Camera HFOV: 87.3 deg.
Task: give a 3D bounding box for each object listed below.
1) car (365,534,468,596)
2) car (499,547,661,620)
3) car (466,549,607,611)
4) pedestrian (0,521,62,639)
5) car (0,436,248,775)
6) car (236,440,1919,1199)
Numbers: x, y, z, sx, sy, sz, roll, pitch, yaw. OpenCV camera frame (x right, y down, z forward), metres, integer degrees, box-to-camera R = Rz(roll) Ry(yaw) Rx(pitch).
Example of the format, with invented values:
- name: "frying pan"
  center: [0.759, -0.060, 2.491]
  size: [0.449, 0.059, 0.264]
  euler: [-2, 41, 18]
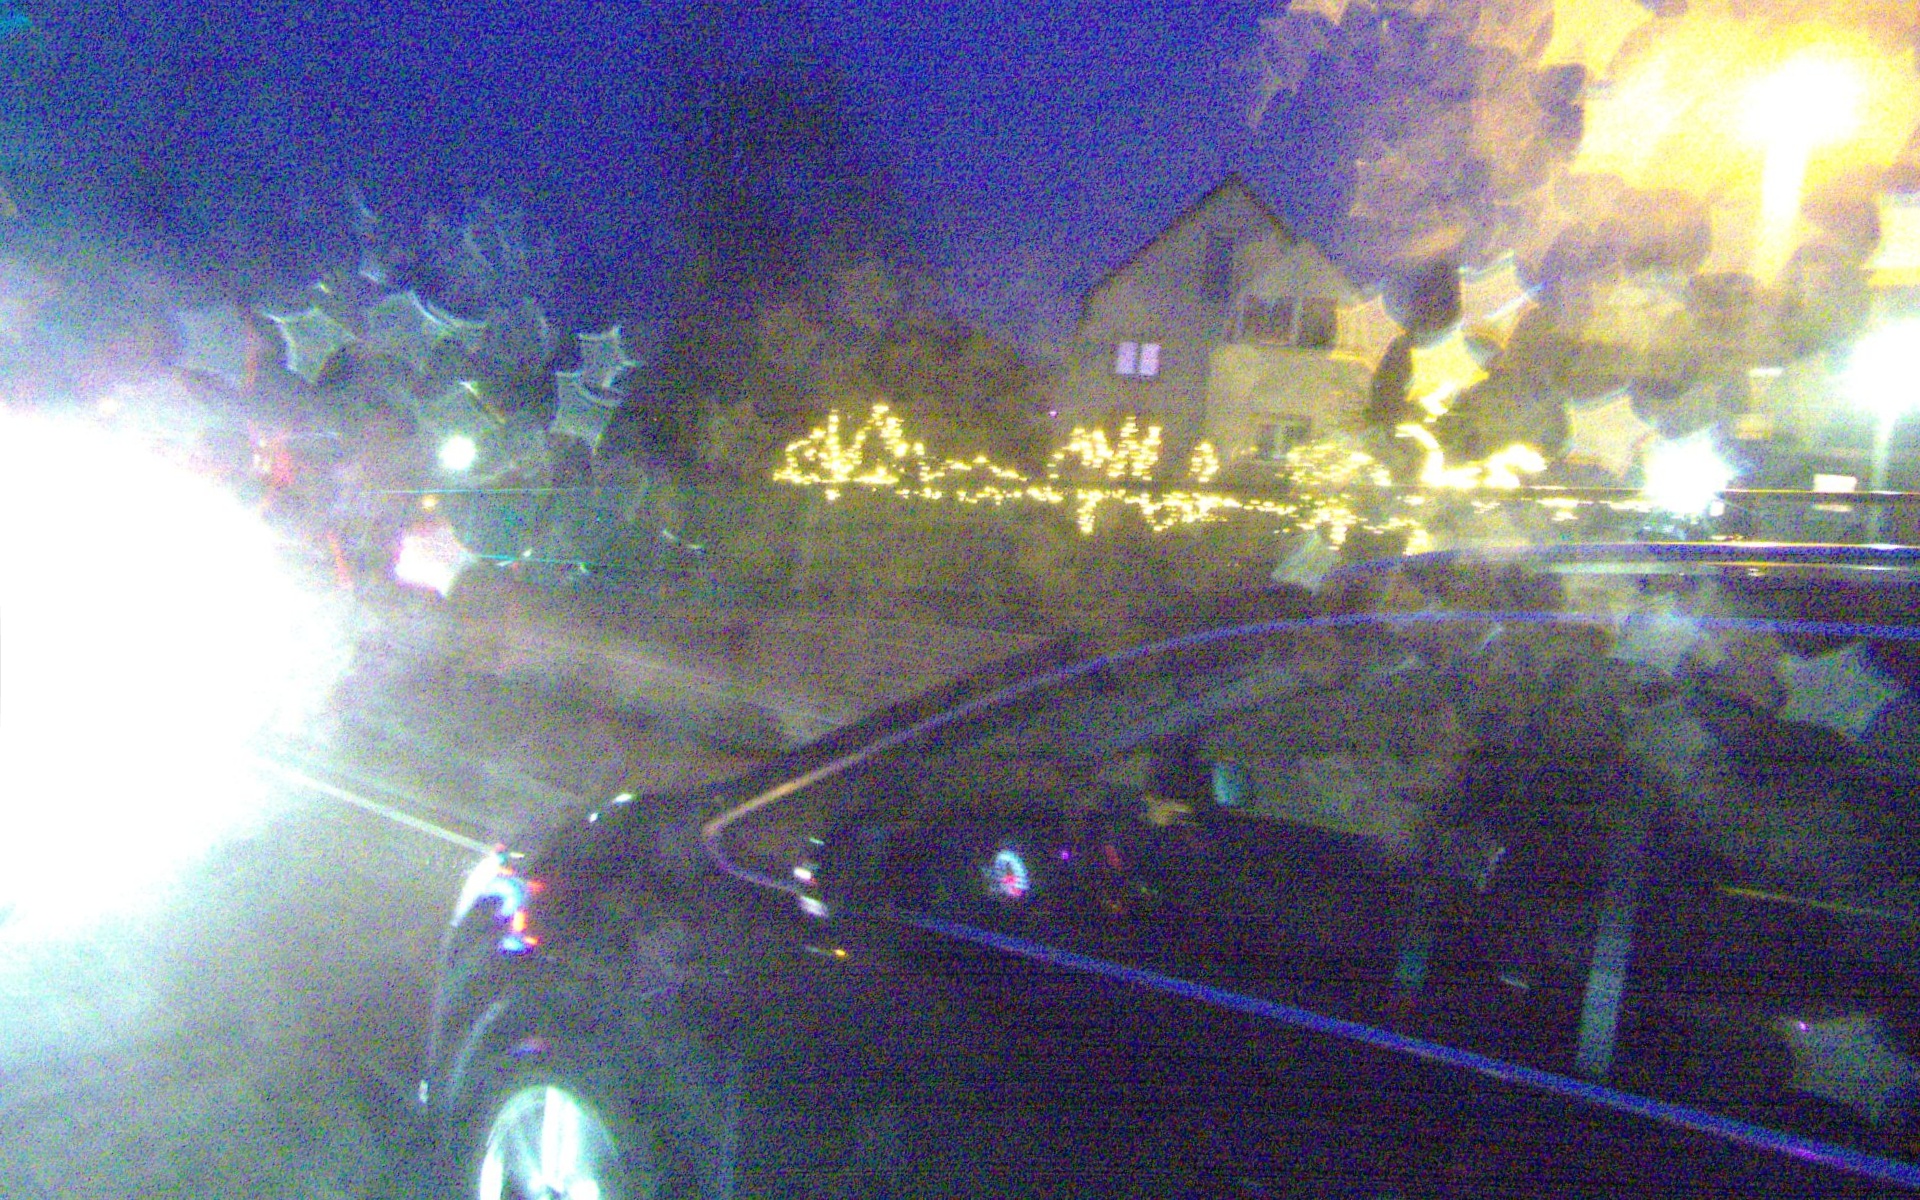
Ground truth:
- name: "car"
  center: [-16.366, -1.081, 30.171]
  size: [1.714, 1.500, 4.656]
  euler: [9, -3, -39]
- name: "car"
  center: [-10.972, -0.459, 29.149]
  size: [3.921, 1.503, 1.745]
  euler: [10, -3, -40]
- name: "car"
  center: [-14.164, -0.650, 33.716]
  size: [3.964, 1.446, 1.829]
  euler: [9, -3, -34]
- name: "pedestrian"
  center: [-14.520, -0.318, 15.330]
  size: [0.608, 1.720, 0.868]
  euler: [7, -3, 3]
- name: "car"
  center: [-7.054, -0.122, 6.907]
  size: [4.269, 1.886, 1.856]
  euler: [6, -2, 32]
- name: "car"
  center: [0.900, 0.797, 1.857]
  size: [4.861, 1.755, 1.838]
  euler: [6, -2, 33]
